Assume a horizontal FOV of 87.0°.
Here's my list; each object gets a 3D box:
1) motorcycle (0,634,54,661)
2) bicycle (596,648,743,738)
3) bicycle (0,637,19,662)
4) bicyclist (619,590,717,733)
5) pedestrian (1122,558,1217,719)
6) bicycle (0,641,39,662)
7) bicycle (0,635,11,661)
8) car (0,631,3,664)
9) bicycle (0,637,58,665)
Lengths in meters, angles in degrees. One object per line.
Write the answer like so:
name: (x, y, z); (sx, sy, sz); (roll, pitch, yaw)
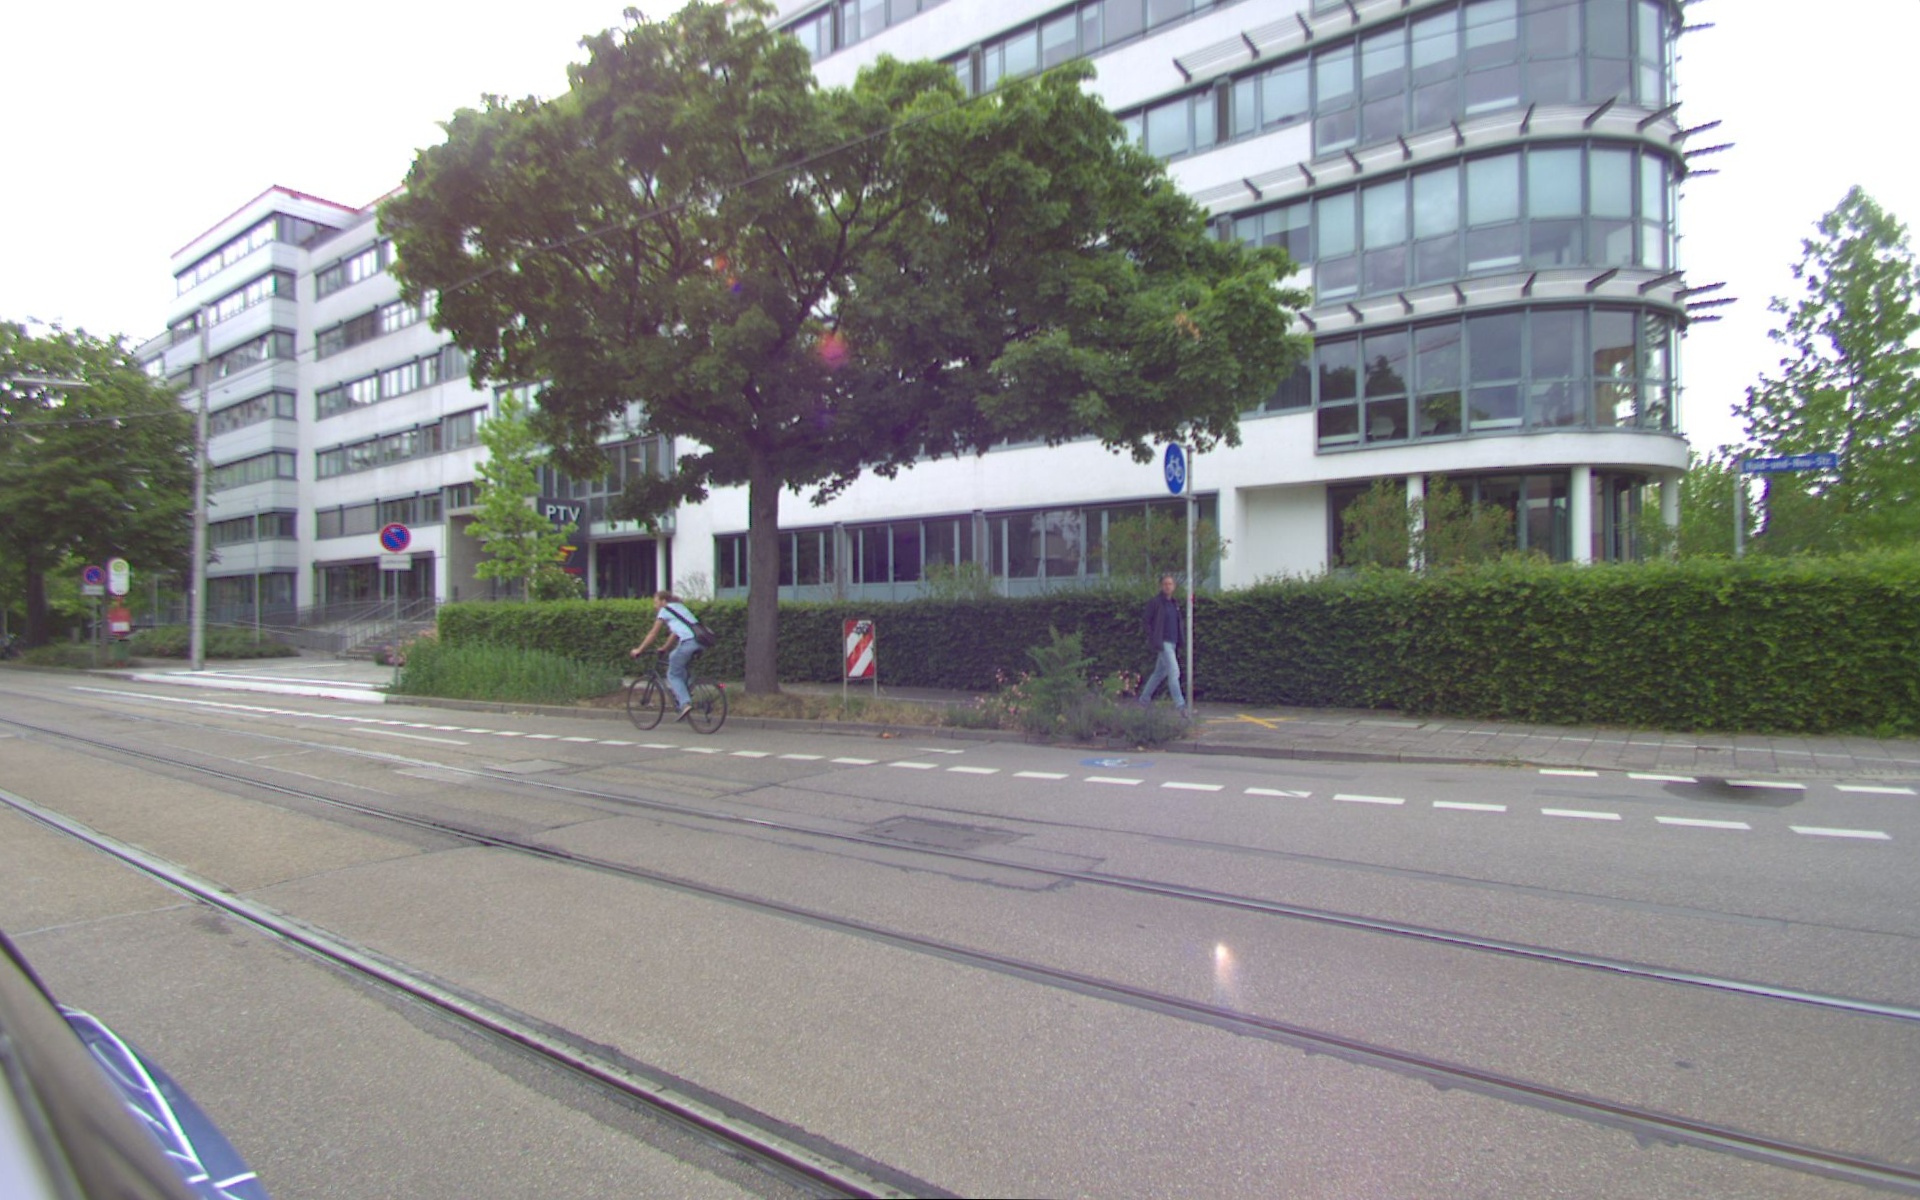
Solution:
motorcycle: (-39.999, 2.024, 43.230); (0.730, 1.058, 1.776); (-1, 0, 30)
bicycle: (-3.773, 1.167, 13.097); (1.947, 1.082, 0.583); (-1, -2, 27)
bicycle: (-43.363, 2.218, 45.218); (0.630, 1.108, 1.793); (0, -2, 30)
bicyclist: (-3.773, 0.778, 13.107); (0.974, 1.762, 0.731); (-1, -2, 27)
pedestrian: (2.768, 0.482, 13.389); (0.991, 2.029, 0.702); (-1, 0, 44)
bicycle: (-41.310, 2.238, 43.975); (0.630, 0.906, 1.793); (0, -2, 30)
bicycle: (-44.332, 2.190, 45.857); (0.632, 1.195, 1.845); (-1, -2, 41)
car: (-46.737, 2.254, 47.517); (4.745, 1.505, 1.864); (-2, 0, 37)
bicycle: (-38.331, 2.085, 41.545); (0.738, 1.061, 1.816); (-2, -1, 28)
